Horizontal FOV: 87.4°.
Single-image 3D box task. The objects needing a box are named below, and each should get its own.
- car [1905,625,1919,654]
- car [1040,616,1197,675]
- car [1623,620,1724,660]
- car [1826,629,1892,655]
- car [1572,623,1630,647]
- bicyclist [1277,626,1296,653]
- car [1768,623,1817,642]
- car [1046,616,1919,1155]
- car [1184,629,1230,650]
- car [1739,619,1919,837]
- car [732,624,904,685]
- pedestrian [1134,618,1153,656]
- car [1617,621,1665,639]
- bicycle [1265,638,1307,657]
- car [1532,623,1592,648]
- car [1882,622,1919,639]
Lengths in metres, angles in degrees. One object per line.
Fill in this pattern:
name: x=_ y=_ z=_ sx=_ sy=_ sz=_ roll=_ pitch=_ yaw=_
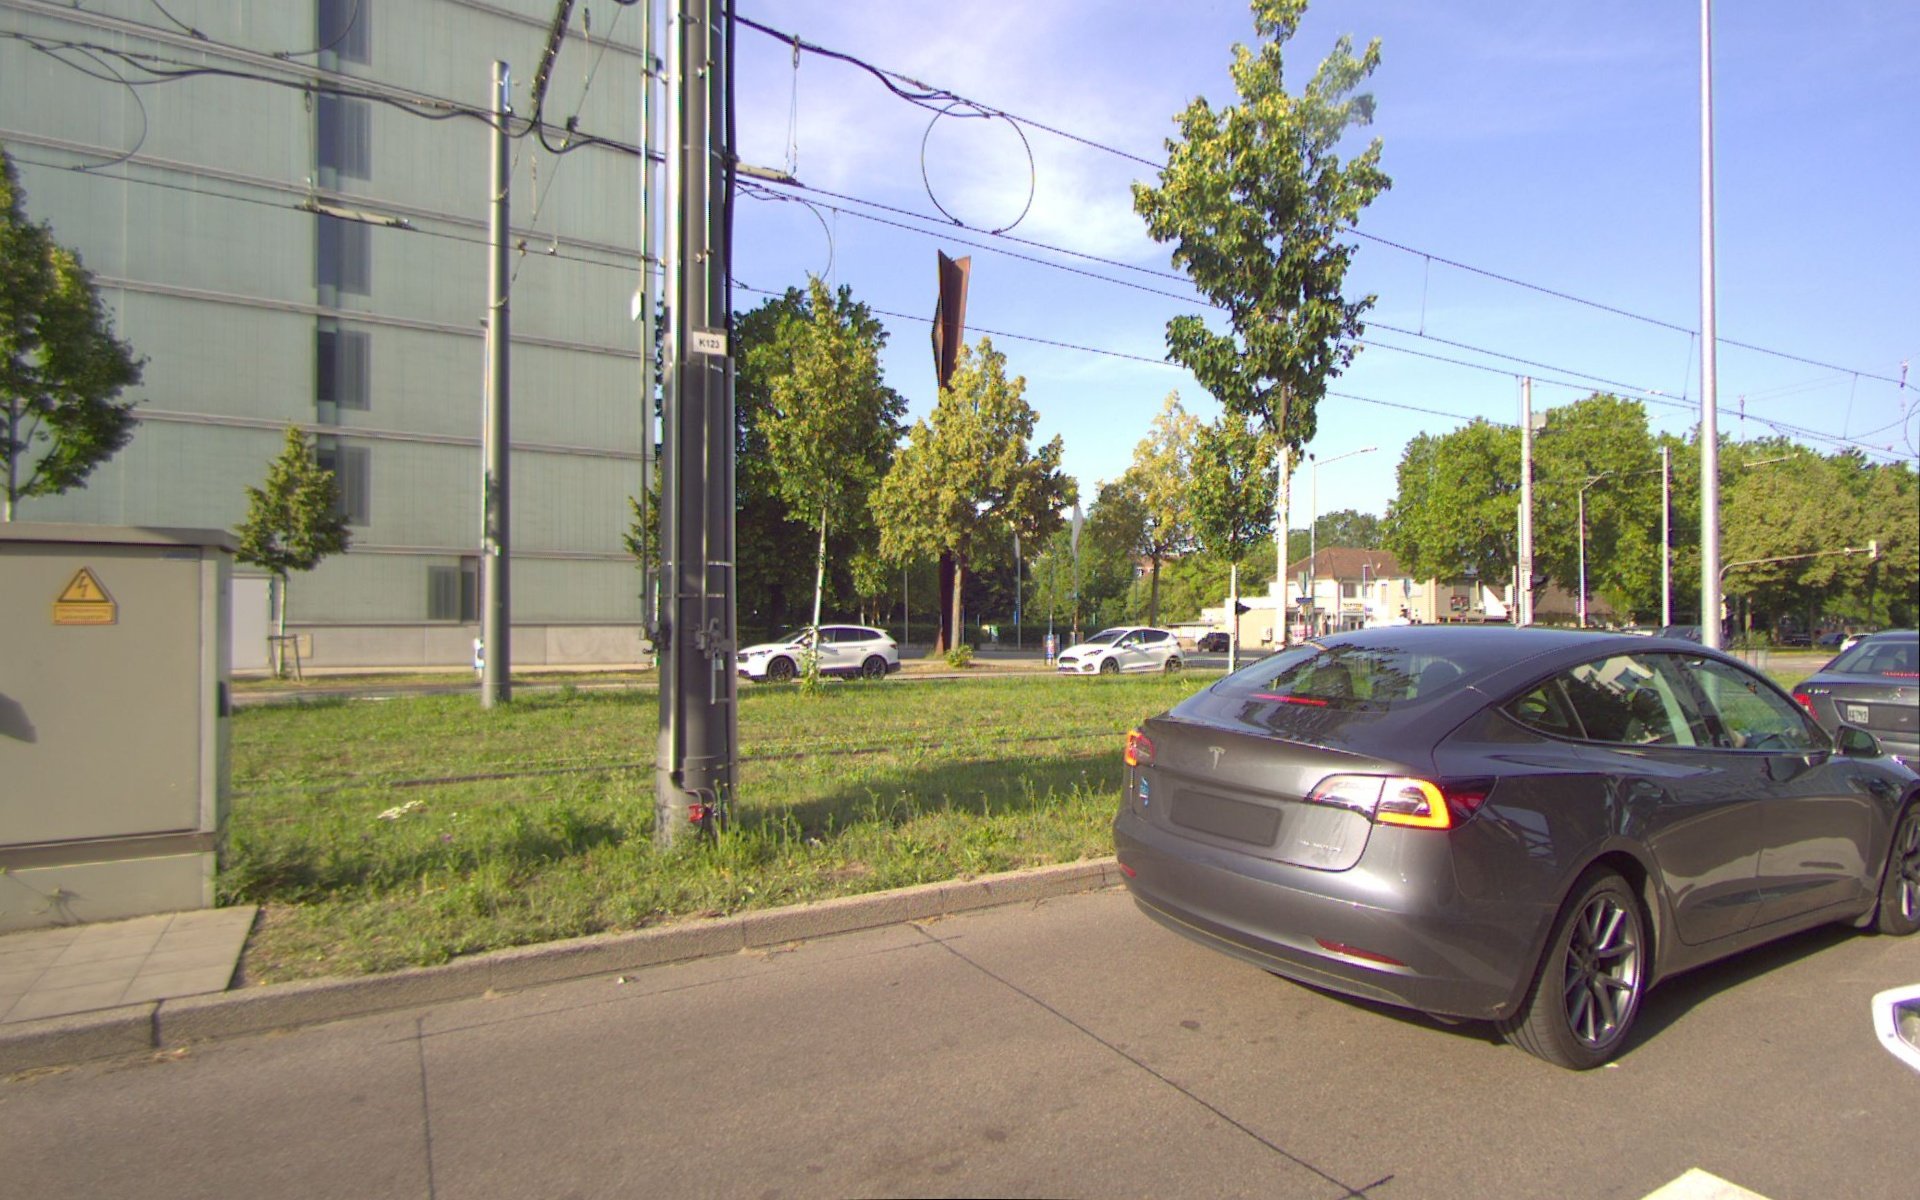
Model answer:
car: x=52.849 y=2.108 z=53.958 sx=4.046 sy=1.524 sz=1.984 roll=1 pitch=-3 yaw=-31
car: x=4.588 y=1.261 z=28.839 sx=4.267 sy=1.548 sz=1.981 roll=0 pitch=-1 yaw=-34
car: x=32.643 y=1.775 z=45.905 sx=4.937 sy=1.707 sz=1.984 roll=0 pitch=-1 yaw=-31
car: x=56.663 y=2.621 z=63.295 sx=4.172 sy=1.548 sz=1.869 roll=0 pitch=-1 yaw=-29
car: x=47.952 y=2.619 z=75.157 sx=3.946 sy=1.773 sz=1.876 roll=1 pitch=-2 yaw=-26
bicyclist: x=18.615 y=2.228 z=57.268 sx=0.836 sy=1.512 sz=0.697 roll=-1 pitch=-1 yaw=37
car: x=72.971 y=2.863 z=88.028 sx=3.946 sy=1.580 sz=1.876 roll=1 pitch=-2 yaw=-26
car: x=2.681 y=0.806 z=4.651 sx=4.285 sy=1.404 sz=1.880 roll=0 pitch=1 yaw=-31
car: x=21.785 y=3.484 z=88.826 sx=1.972 sy=1.750 sz=3.978 roll=1 pitch=-1 yaw=-23
car: x=8.554 y=0.940 z=8.419 sx=4.303 sy=1.498 sz=1.777 roll=0 pitch=1 yaw=-31
car: x=-3.924 y=1.456 z=27.941 sx=4.390 sy=1.548 sz=1.896 roll=0 pitch=-1 yaw=-31
pedestrian: x=10.331 y=2.076 z=56.492 sx=0.864 sy=2.135 sz=0.724 roll=-1 pitch=-3 yaw=-1
car: x=62.170 y=2.771 z=91.723 sx=3.946 sy=1.580 sz=1.876 roll=1 pitch=-2 yaw=-26
bicycle: x=18.602 y=2.696 z=57.267 sx=2.167 sy=1.055 sz=0.697 roll=-1 pitch=-2 yaw=37
car: x=43.756 y=2.593 z=73.023 sx=3.946 sy=1.773 sz=1.876 roll=1 pitch=-2 yaw=-26
car: x=90.927 y=2.928 z=96.644 sx=3.946 sy=1.580 sz=1.876 roll=1 pitch=-2 yaw=-26
